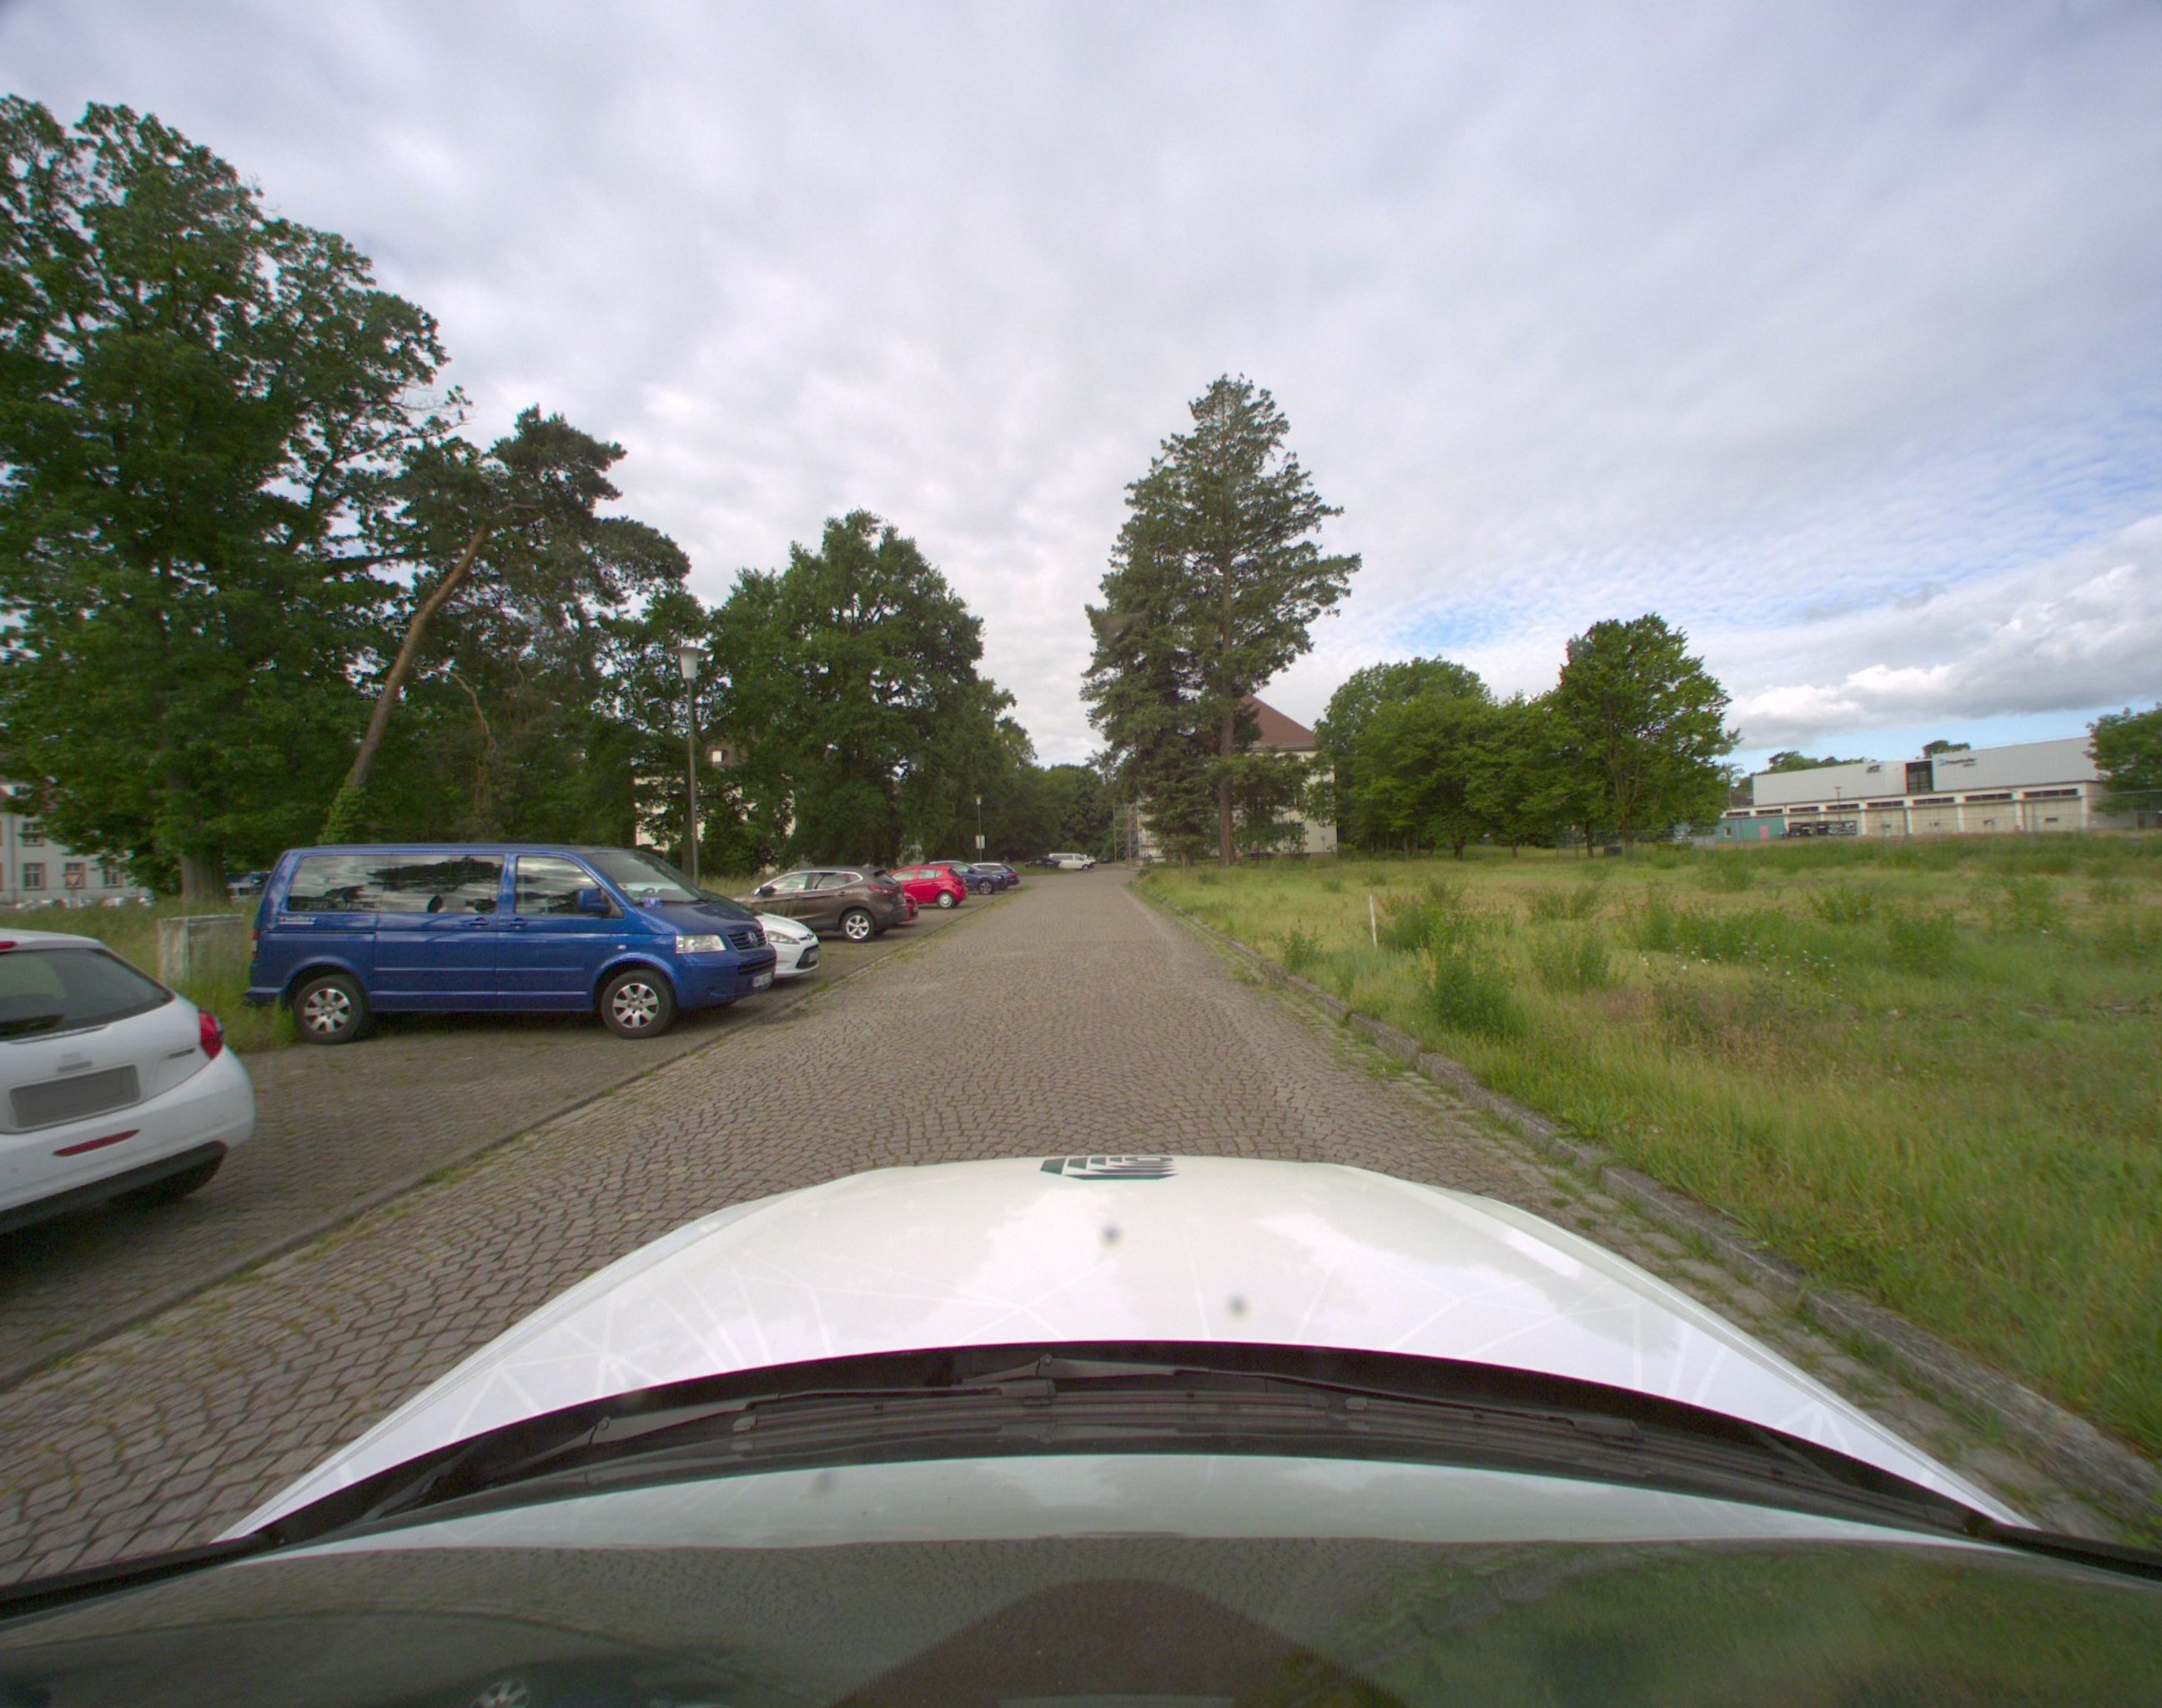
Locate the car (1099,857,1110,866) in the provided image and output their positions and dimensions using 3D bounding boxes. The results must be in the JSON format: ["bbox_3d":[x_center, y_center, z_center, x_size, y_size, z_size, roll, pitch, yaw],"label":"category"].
[{"bbox_3d":[4.604,1.464,158.225,1.945,1.522,3.998,-2,-1,-1],"label":"car"}]

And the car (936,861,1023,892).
[{"bbox_3d":[-5.325,1.173,43.092,4.287,1.461,1.976,-1,0,1],"label":"car"}]

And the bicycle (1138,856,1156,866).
[{"bbox_3d":[8.550,0.873,104.911,2.231,1.254,0.778,-2,-1,2],"label":"bicycle"}]

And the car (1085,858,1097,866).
[{"bbox_3d":[1.934,1.580,157.920,2.112,1.522,3.998,-2,-1,-1],"label":"car"}]

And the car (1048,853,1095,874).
[{"bbox_3d":[-1.054,1.072,91.924,5.221,2.168,1.998,-2,-1,-2],"label":"car"}]

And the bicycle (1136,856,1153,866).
[{"bbox_3d":[8.539,0.939,109.167,2.231,1.254,0.778,-2,-1,2],"label":"bicycle"}]

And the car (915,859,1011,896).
[{"bbox_3d":[-5.510,1.092,38.362,4.216,1.577,1.886,-1,0,-1],"label":"car"}]

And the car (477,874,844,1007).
[{"bbox_3d":[-5.700,1.134,11.459,4.155,1.510,1.780,-2,0,-2],"label":"car"}]

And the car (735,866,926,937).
[{"bbox_3d":[-6.180,1.147,20.489,4.154,1.510,1.906,-2,0,-1],"label":"car"}]

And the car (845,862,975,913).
[{"bbox_3d":[-5.827,1.134,28.121,4.043,1.525,1.904,-2,0,-2],"label":"car"}]

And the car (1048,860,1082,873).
[{"bbox_3d":[-1.875,1.434,94.510,3.780,1.395,1.998,-2,-1,-3],"label":"car"}]

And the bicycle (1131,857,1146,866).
[{"bbox_3d":[9.051,1.209,128.237,2.231,1.254,0.627,-2,-1,2],"label":"bicycle"}]

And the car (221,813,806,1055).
[{"bbox_3d":[-5.790,0.763,8.872,4.767,2.122,2.114,-2,0,-1],"label":"car"}]

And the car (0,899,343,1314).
[{"bbox_3d":[-6.133,1.074,3.576,4.053,1.497,1.846,-2,0,1],"label":"car"}]

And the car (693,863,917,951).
[{"bbox_3d":[-5.871,1.097,17.750,4.156,1.622,1.985,-2,0,-3],"label":"car"}]
